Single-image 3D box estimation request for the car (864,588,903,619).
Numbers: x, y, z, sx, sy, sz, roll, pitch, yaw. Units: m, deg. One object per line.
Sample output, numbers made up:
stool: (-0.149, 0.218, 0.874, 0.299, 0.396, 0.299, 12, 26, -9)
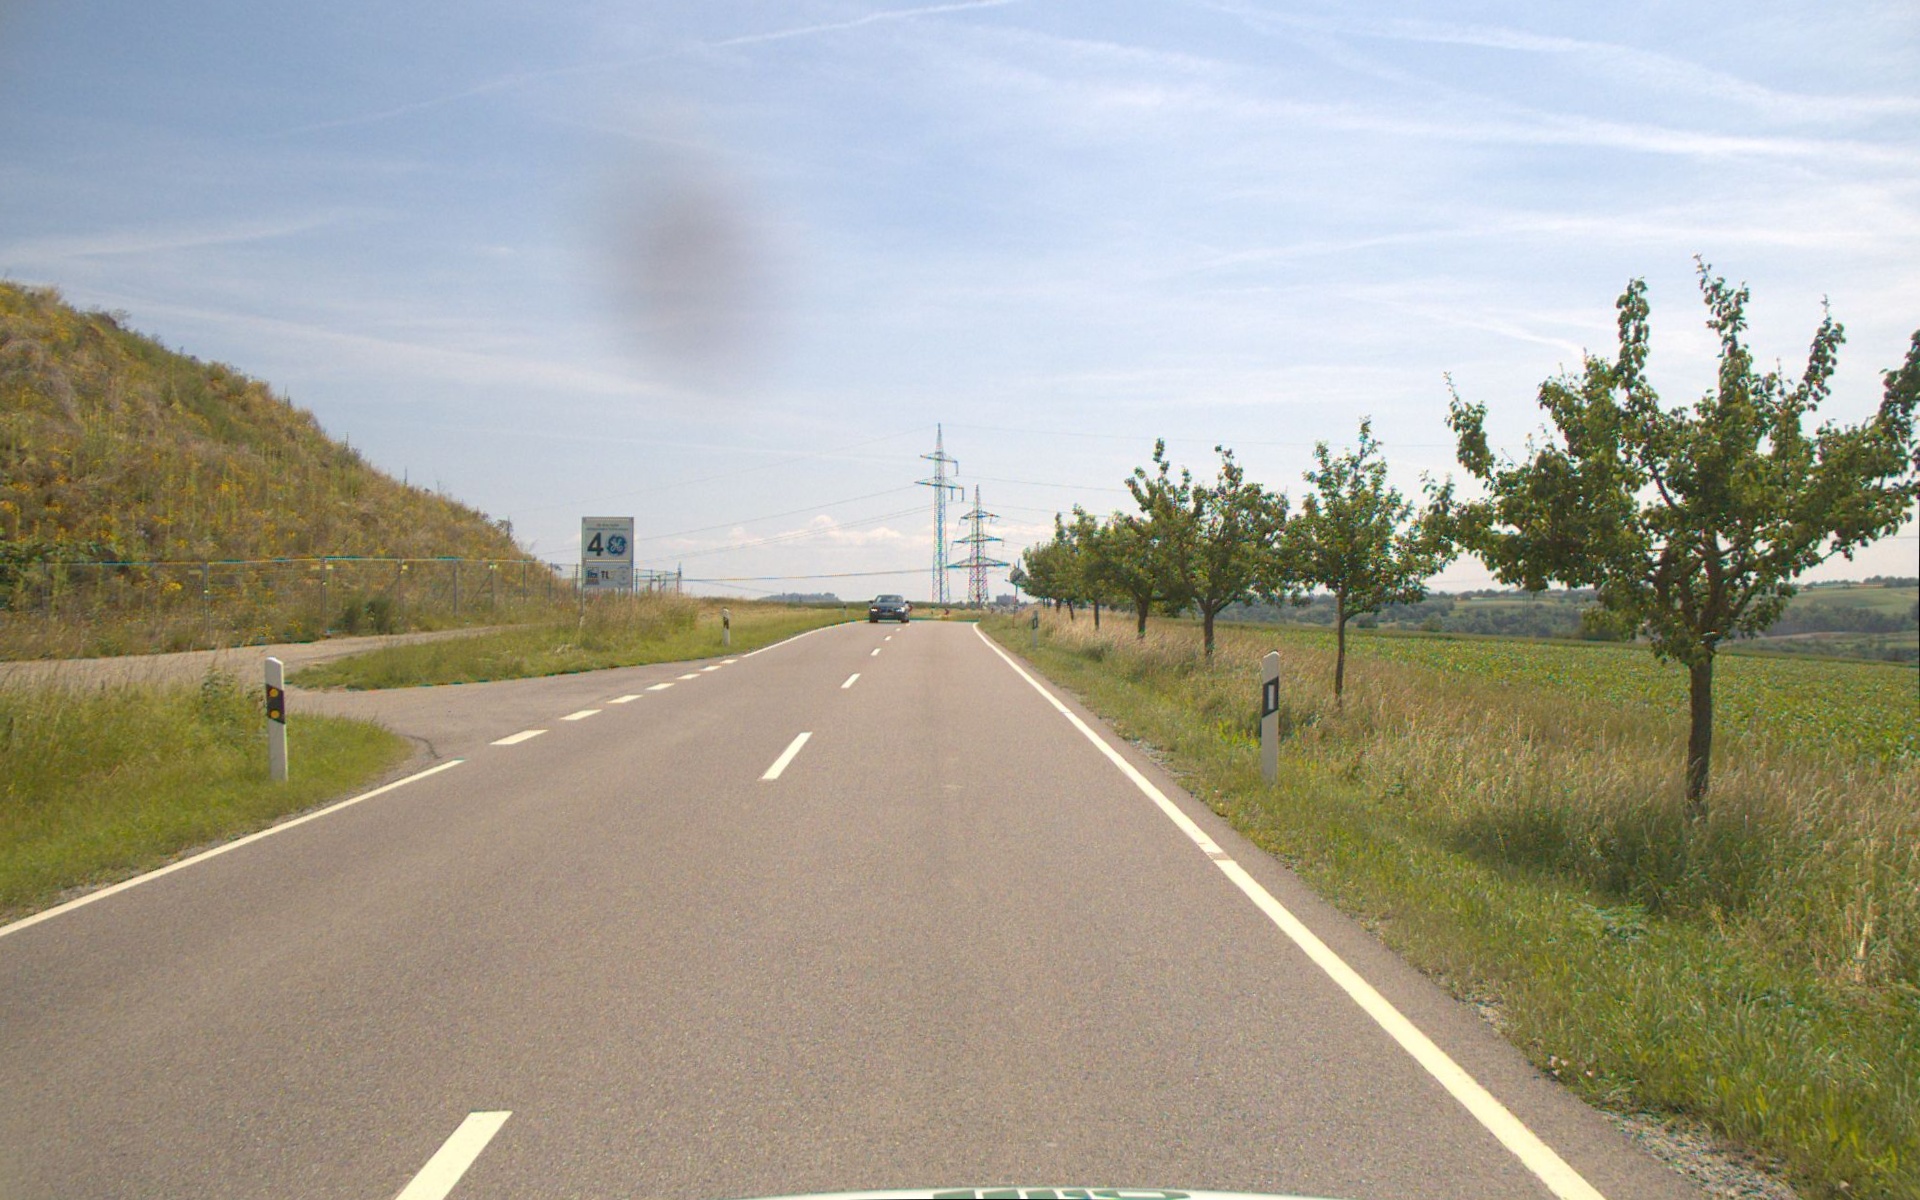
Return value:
car: (-3.766, 0.154, 81.603, 1.785, 1.435, 3.999, 0, 1, -1)
